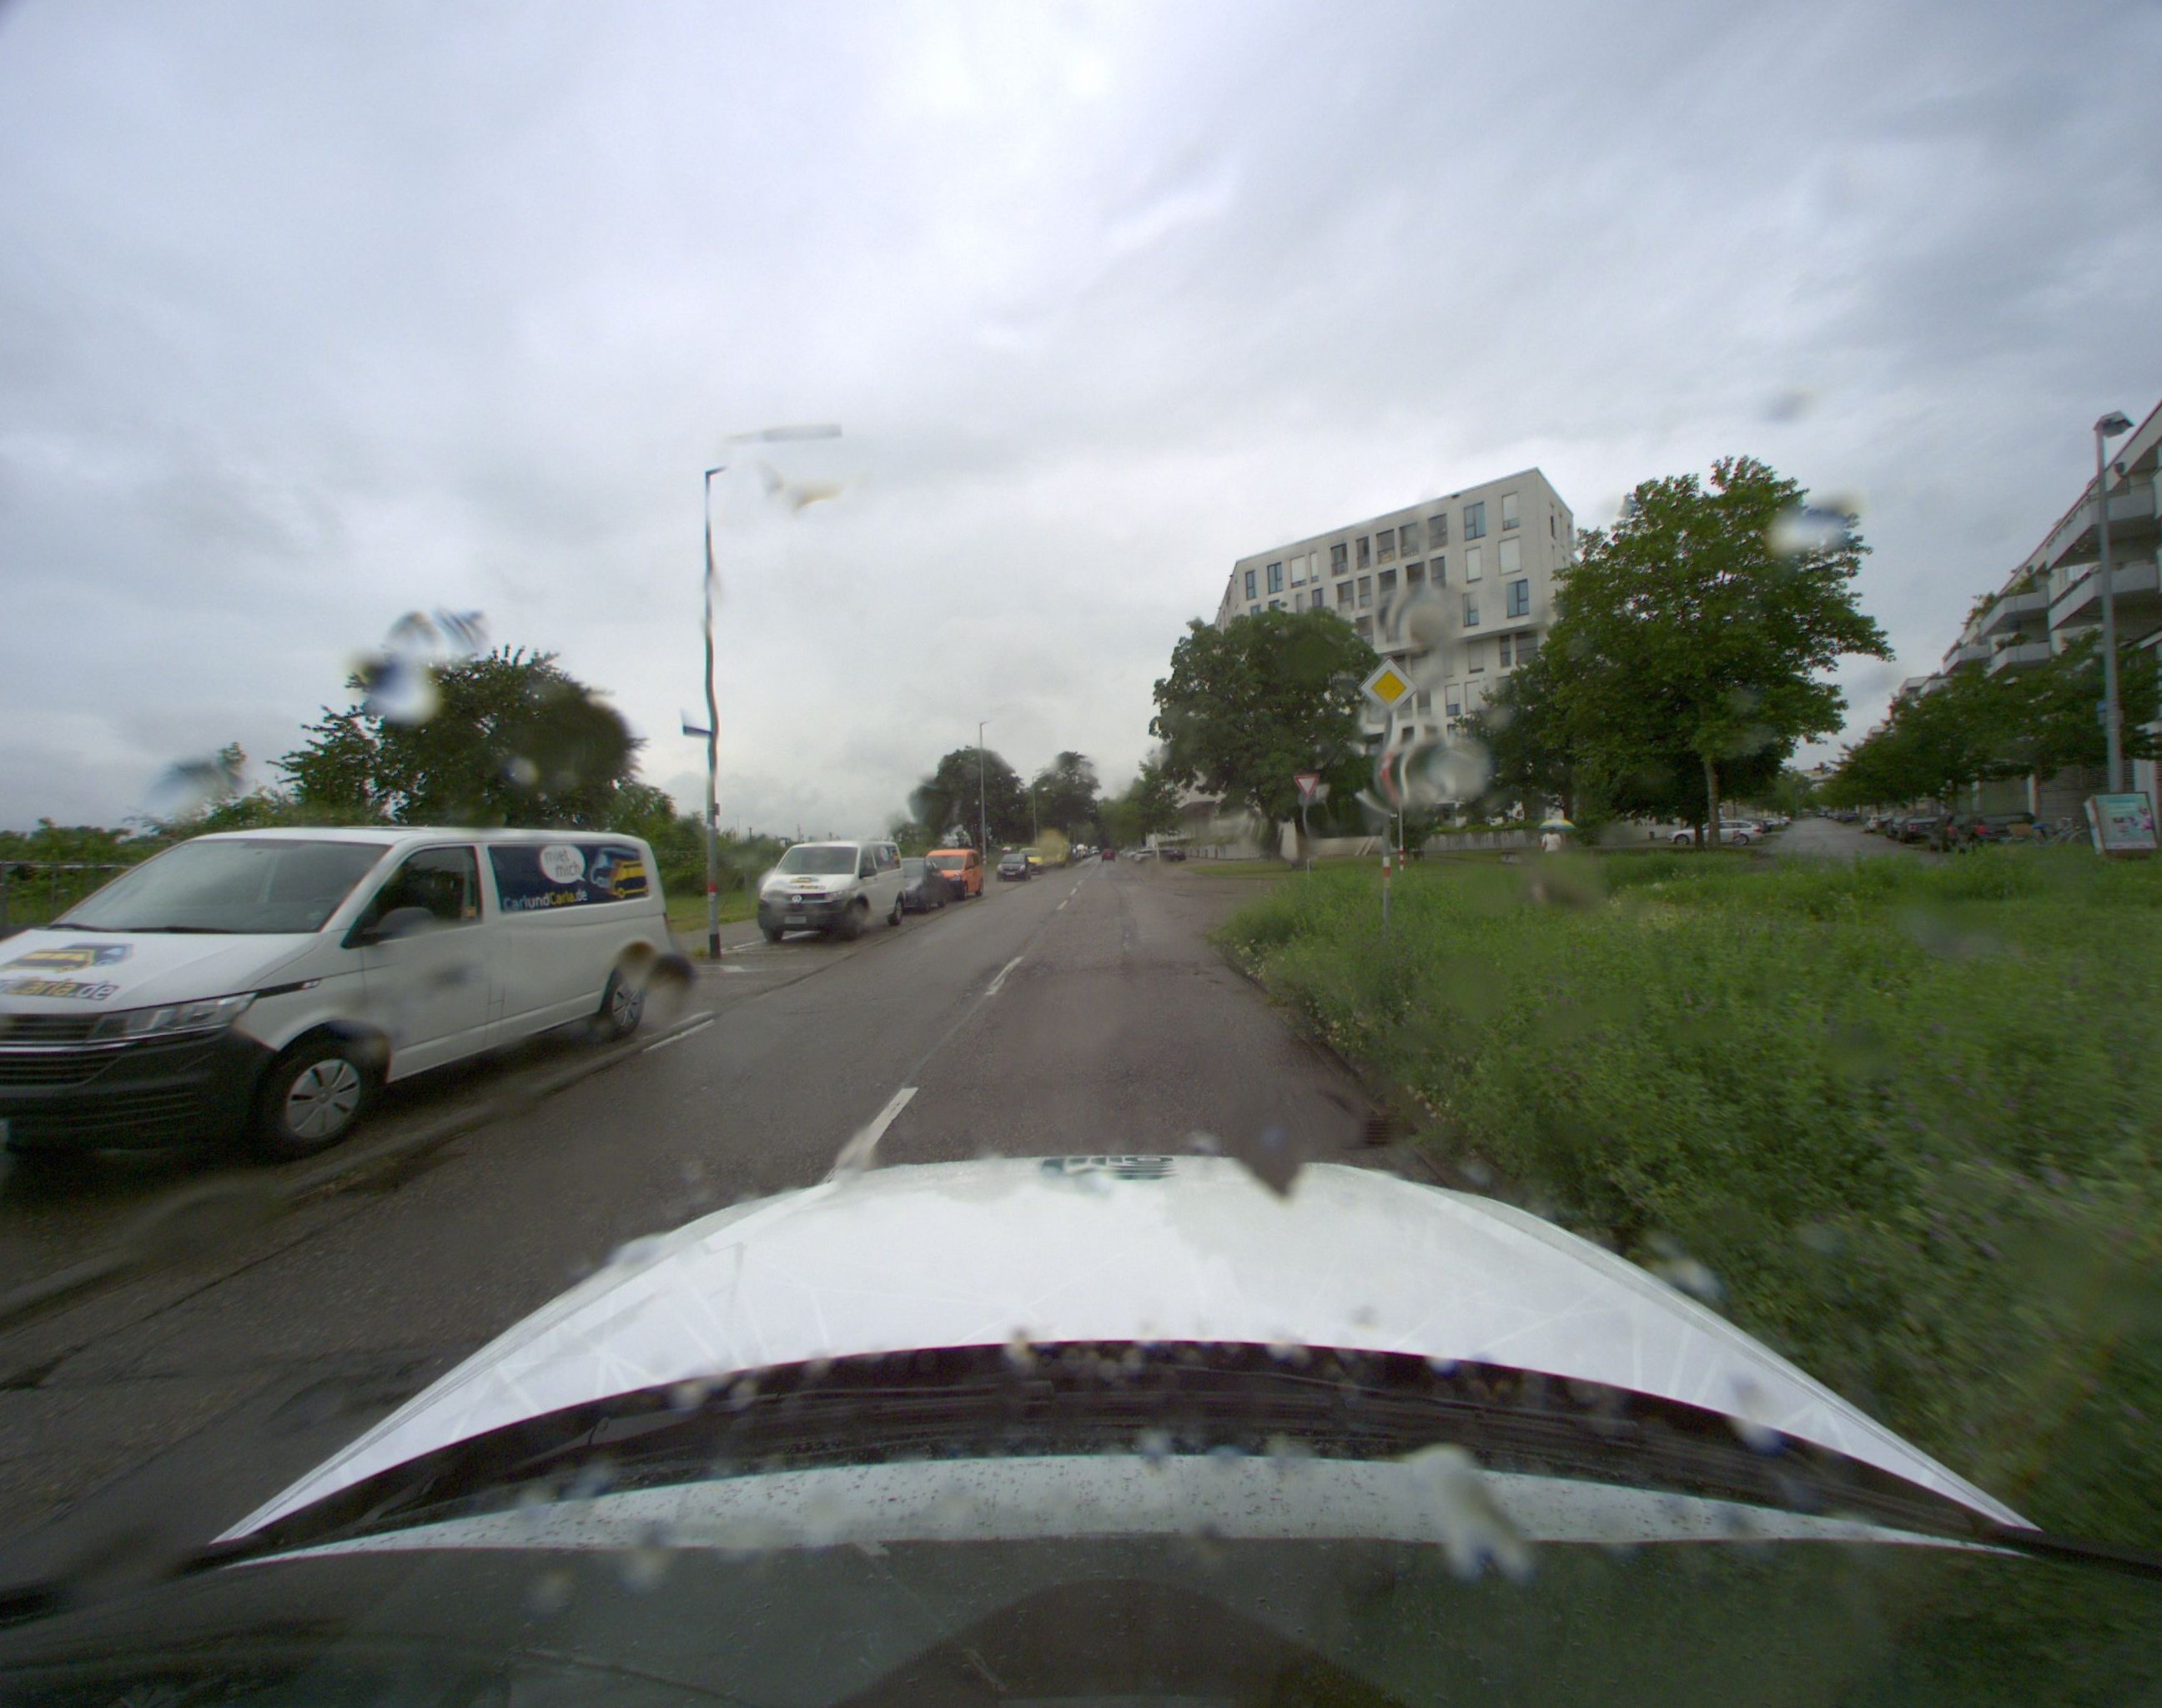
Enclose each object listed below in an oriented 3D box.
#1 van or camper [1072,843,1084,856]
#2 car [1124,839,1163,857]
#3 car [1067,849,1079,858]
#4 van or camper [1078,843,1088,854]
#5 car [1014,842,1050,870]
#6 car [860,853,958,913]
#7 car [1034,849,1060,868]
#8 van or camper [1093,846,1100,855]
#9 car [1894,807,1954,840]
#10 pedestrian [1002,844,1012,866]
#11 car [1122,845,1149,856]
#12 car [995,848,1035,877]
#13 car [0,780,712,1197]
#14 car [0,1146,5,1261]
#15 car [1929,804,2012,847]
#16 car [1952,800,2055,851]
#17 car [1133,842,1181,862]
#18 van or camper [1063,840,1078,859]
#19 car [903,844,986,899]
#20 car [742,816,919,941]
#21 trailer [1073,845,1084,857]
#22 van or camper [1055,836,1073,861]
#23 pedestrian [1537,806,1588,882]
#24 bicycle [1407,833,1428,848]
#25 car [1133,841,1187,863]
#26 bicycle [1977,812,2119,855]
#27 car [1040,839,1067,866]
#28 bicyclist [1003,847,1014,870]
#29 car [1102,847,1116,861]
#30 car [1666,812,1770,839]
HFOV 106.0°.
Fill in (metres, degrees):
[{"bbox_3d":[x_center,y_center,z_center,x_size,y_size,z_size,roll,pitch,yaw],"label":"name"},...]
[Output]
[{"bbox_3d":[-0.627,-0.981,172.046,1.986,2.762,7.902,-1,0,2],"label":"van or camper"},{"bbox_3d":[7.744,-0.780,101.303,4.527,1.685,1.885,-7,0,-1],"label":"car"},{"bbox_3d":[-1.279,-0.036,135.634,1.767,1.502,4.831,0,0,2],"label":"car"},{"bbox_3d":[0.485,-1.159,184.406,2.181,2.461,6.380,-1,0,2],"label":"van or camper"},{"bbox_3d":[-3.511,0.145,59.211,2.009,1.956,6.067,0,0,2],"label":"car"},{"bbox_3d":[-4.963,0.773,24.178,1.677,1.502,4.894,-2,0,2],"label":"car"},{"bbox_3d":[-2.908,0.389,71.504,1.986,1.594,5.018,0,0,1],"label":"car"},{"bbox_3d":[4.798,-1.066,255.056,1.985,2.497,7.183,-3,0,3],"label":"van or camper"},{"bbox_3d":[45.338,-1.664,43.879,1.752,1.548,4.171,-5,0,40],"label":"car"},{"bbox_3d":[-6.628,0.075,73.226,0.739,2.013,0.981,-1,0,2],"label":"pedestrian"},{"bbox_3d":[9.016,-0.600,135.524,4.286,1.428,1.636,-4,0,-1],"label":"car"},{"bbox_3d":[-3.700,0.458,46.362,1.797,1.561,4.035,0,1,2],"label":"car"},{"bbox_3d":[-5.332,0.665,6.697,1.952,2.058,5.277,-1,0,2],"label":"car"},{"bbox_3d":[-5.545,0.735,0.760,1.887,2.013,5.261,-2,0,2],"label":"car"},{"bbox_3d":[35.593,-1.139,32.669,1.712,1.548,4.025,-2,0,40],"label":"car"},{"bbox_3d":[31.460,-0.971,27.893,1.712,1.548,4.147,-2,0,40],"label":"car"},{"bbox_3d":[7.295,-0.196,78.374,4.471,1.481,1.692,-5,0,1],"label":"car"},{"bbox_3d":[-1.547,-0.670,122.757,2.087,2.715,7.573,0,0,0],"label":"van or camper"},{"bbox_3d":[-4.796,0.555,29.306,1.931,1.767,4.335,-2,0,4],"label":"car"},{"bbox_3d":[-5.220,0.428,17.921,1.935,2.236,5.560,-2,1,2],"label":"car"},{"bbox_3d":[-0.444,-0.596,157.845,2.052,2.217,5.794,-1,0,0],"label":"trailer"},{"bbox_3d":[-2.203,-0.687,107.626,2.087,3.094,6.425,0,0,1],"label":"van or camper"},{"bbox_3d":[13.256,-0.276,22.438,0.961,2.013,0.623,-3,0,2],"label":"pedestrian"},{"bbox_3d":[23.877,-0.975,57.787,0.716,1.033,2.086,-3,0,41],"label":"bicycle"},{"bbox_3d":[6.945,-0.180,72.250,4.555,1.497,1.826,-5,0,0],"label":"car"},{"bbox_3d":[26.893,-0.562,22.731,2.453,1.087,0.730,-2,1,43],"label":"bicycle"},{"bbox_3d":[-2.713,-0.167,83.051,2.182,2.694,6.087,0,0,4],"label":"car"},{"bbox_3d":[-5.885,0.336,65.768,0.695,1.829,1.009,-2,0,2],"label":"bicyclist"},{"bbox_3d":[3.763,0.022,109.594,1.749,1.705,4.003,-2,1,3],"label":"car"},{"bbox_3d":[37.973,-1.674,48.619,4.775,1.507,1.635,0,2,42],"label":"car"}]
